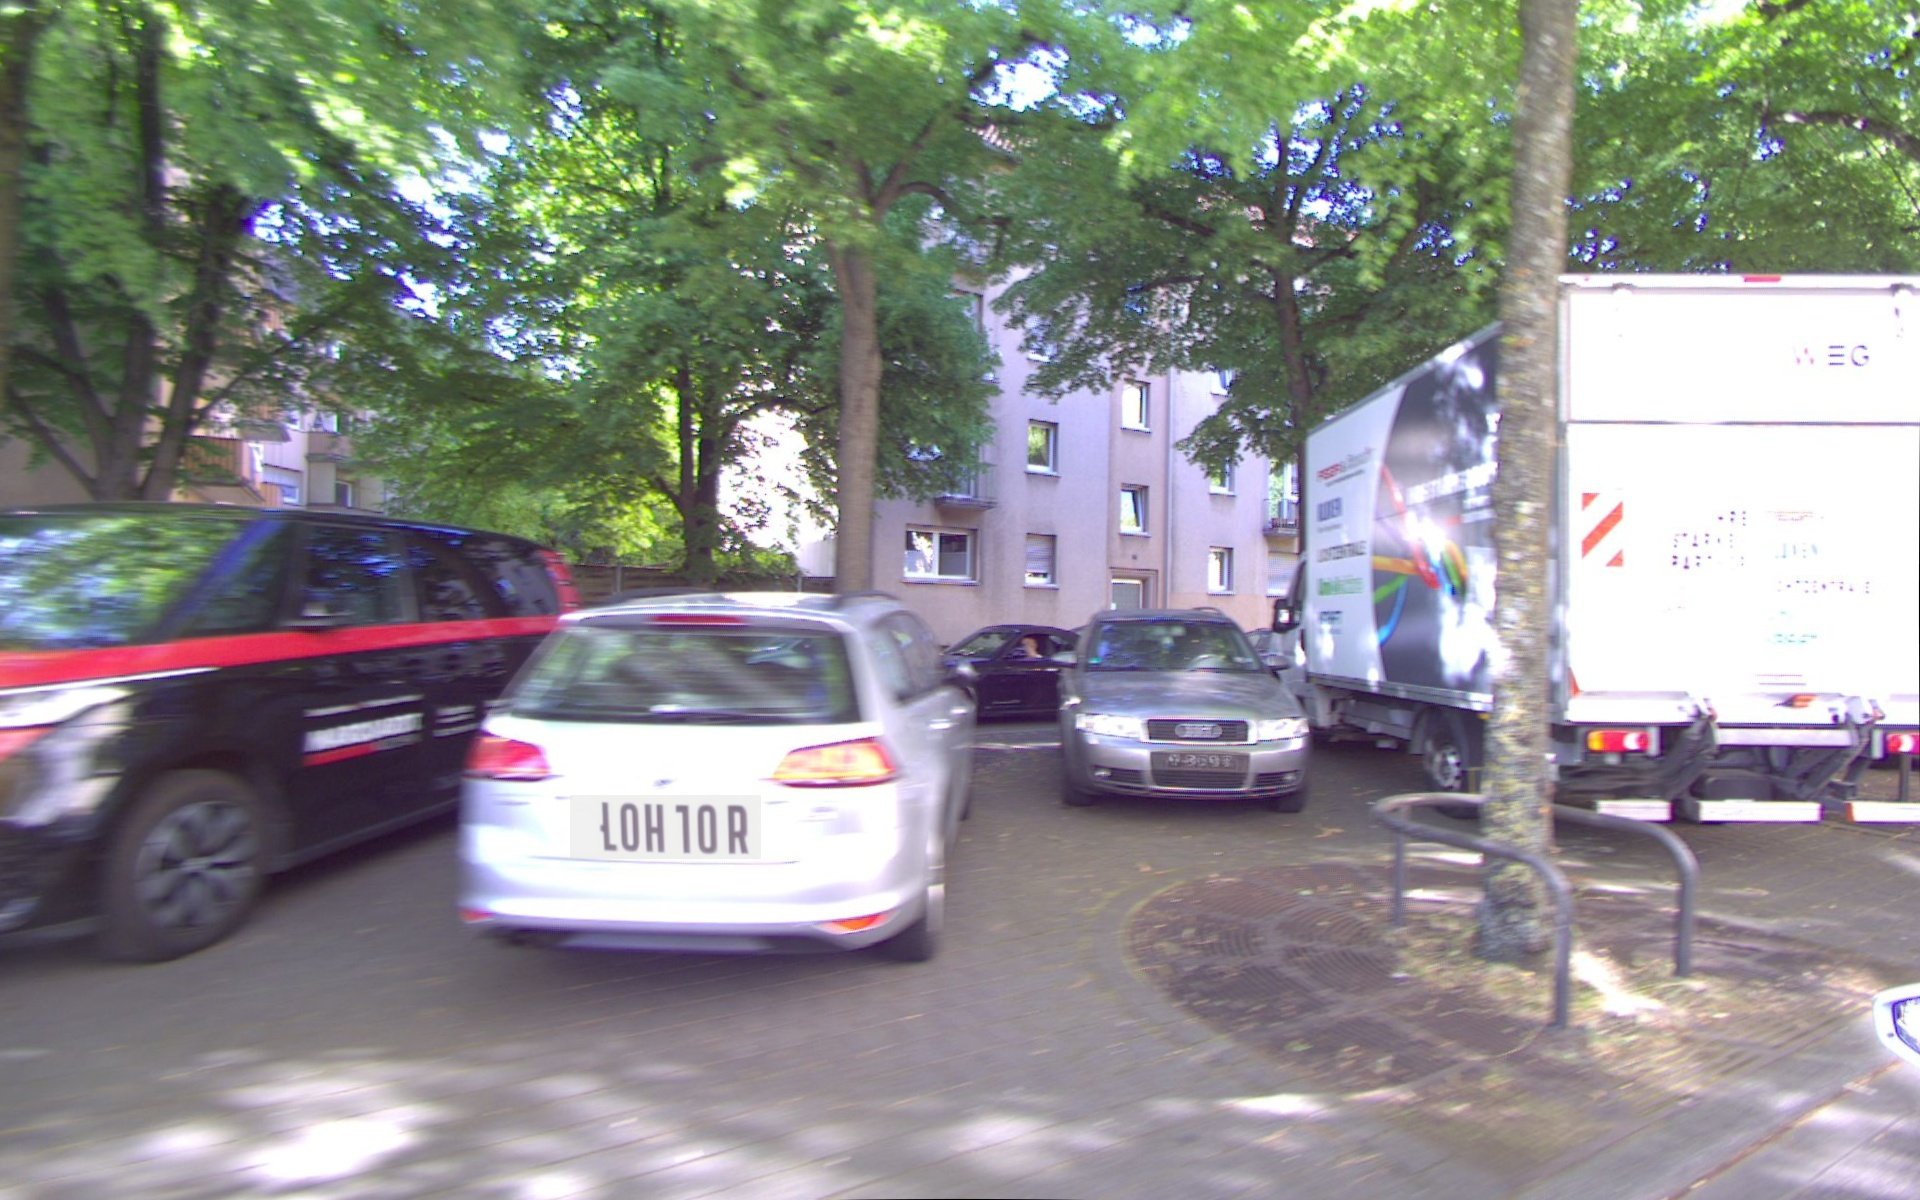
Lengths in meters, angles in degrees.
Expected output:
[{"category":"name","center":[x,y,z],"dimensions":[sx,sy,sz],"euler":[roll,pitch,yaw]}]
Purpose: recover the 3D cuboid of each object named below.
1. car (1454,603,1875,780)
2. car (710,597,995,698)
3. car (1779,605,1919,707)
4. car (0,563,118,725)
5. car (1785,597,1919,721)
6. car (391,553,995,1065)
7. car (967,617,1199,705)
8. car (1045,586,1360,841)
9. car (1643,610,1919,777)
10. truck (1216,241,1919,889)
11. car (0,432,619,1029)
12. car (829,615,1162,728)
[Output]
[{"category":"car","center":[7.315,0.826,11.034],"dimensions":[1.812,1.523,4.000],"euler":[2,0,1]},{"category":"car","center":[-1.714,0.752,16.428],"dimensions":[4.293,1.454,1.755],"euler":[2,0,-31]},{"category":"car","center":[18.562,1.075,19.176],"dimensions":[1.979,1.856,4.606],"euler":[2,-1,-1]},{"category":"car","center":[-11.474,0.398,10.228],"dimensions":[4.201,1.662,1.744],"euler":[2,0,-33]},{"category":"car","center":[15.685,0.944,15.412],"dimensions":[2.042,1.889,4.520],"euler":[2,0,-5]},{"category":"car","center":[-0.773,0.657,5.305],"dimensions":[1.777,1.527,4.345],"euler":[2,0,3]},{"category":"car","center":[2.348,1.088,18.635],"dimensions":[4.304,1.454,1.751],"euler":[2,-2,-37]},{"category":"car","center":[1.690,0.715,8.430],"dimensions":[1.777,1.527,4.345],"euler":[2,0,3]},{"category":"car","center":[9.929,0.931,11.308],"dimensions":[1.699,1.526,4.108],"euler":[2,0,1]},{"category":"truck","center":[4.439,-0.130,8.894],"dimensions":[2.496,3.337,7.326],"euler":[1,-1,1]},{"category":"car","center":[-3.717,0.405,5.498],"dimensions":[1.897,1.898,4.504],"euler":[2,0,3]},{"category":"car","center":[0.575,0.924,13.703],"dimensions":[4.368,1.311,1.753],"euler":[2,-2,-34]}]
